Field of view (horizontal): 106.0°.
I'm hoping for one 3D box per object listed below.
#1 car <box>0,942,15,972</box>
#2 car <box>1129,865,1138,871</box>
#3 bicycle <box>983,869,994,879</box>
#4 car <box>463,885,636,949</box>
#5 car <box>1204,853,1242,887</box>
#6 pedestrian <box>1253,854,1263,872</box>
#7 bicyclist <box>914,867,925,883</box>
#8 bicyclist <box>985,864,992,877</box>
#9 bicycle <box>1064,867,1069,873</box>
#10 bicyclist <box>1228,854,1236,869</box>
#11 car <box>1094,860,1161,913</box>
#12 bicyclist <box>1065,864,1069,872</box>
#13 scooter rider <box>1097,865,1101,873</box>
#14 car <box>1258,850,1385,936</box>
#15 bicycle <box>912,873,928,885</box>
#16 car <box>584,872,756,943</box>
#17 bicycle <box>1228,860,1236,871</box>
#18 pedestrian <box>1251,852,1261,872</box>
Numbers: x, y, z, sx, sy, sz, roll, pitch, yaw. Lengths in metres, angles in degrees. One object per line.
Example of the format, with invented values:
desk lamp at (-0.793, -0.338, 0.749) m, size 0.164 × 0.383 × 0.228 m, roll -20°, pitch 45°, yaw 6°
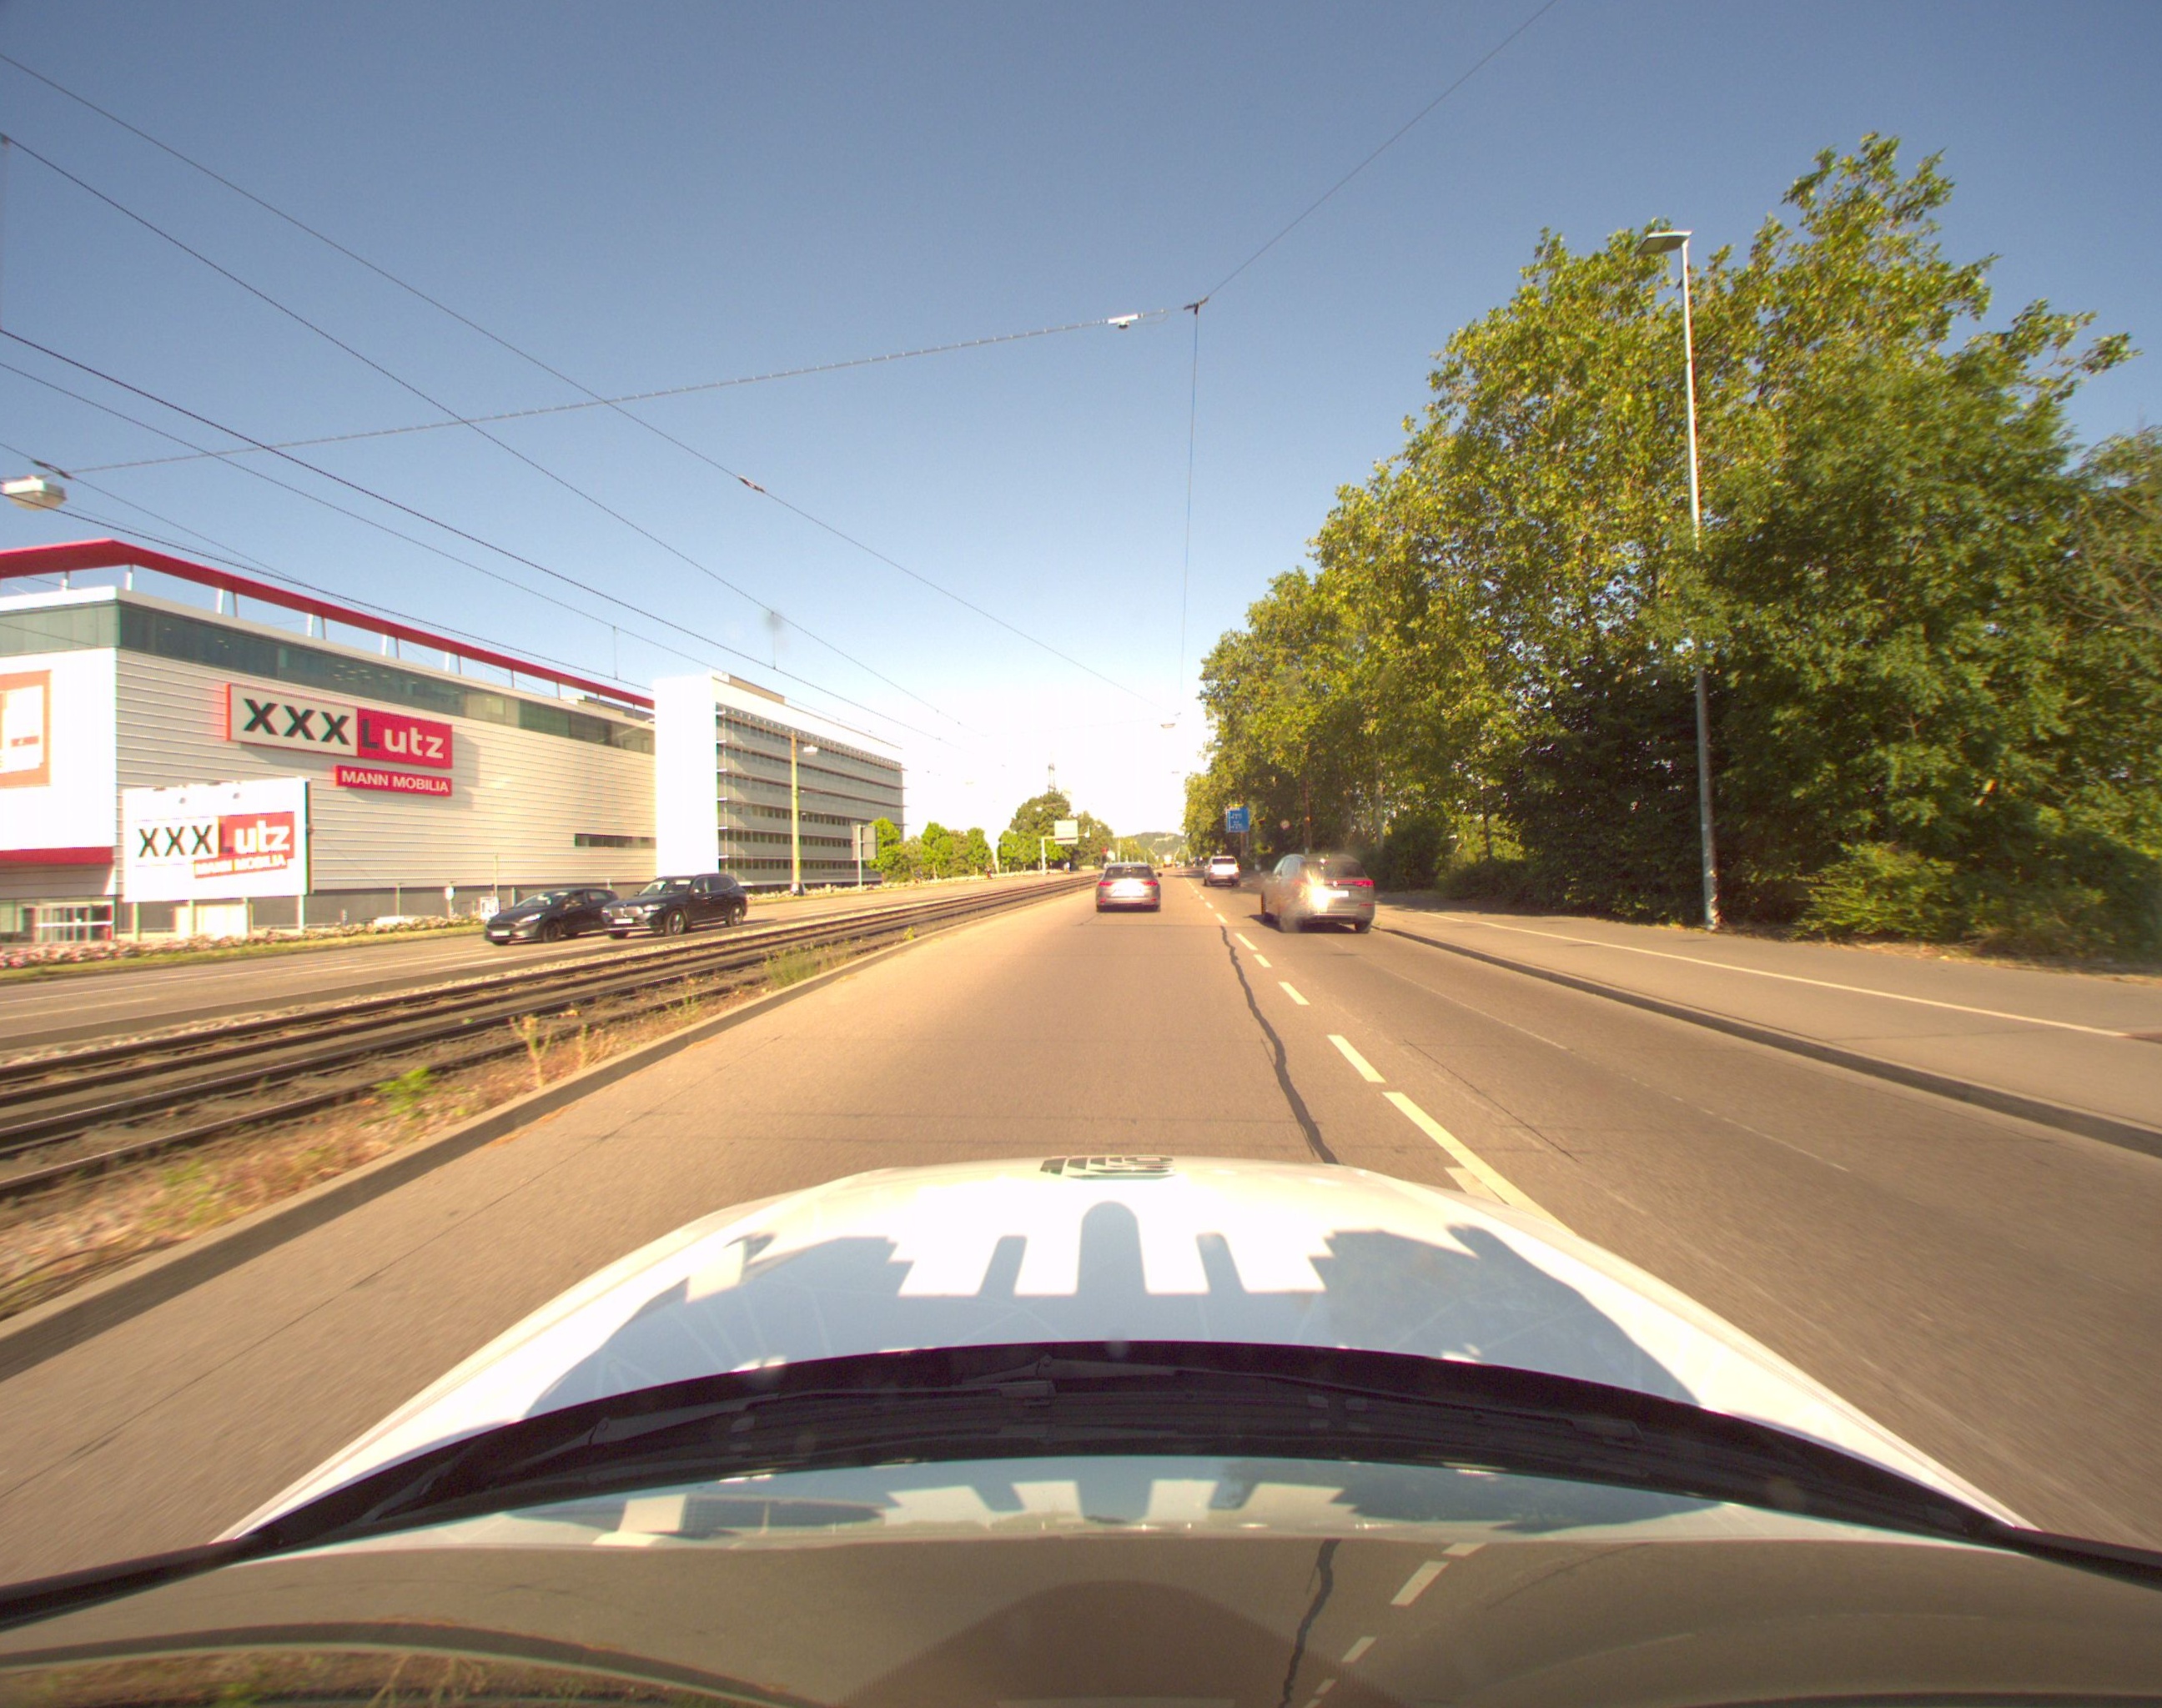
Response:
car at (-64.917, 6.114, 46.552) m, size 1.911 × 1.702 × 4.457 m, roll 0°, pitch 0°, yaw 7°
car at (14.111, 3.858, 219.611) m, size 2.028 × 1.503 × 4.898 m, roll -2°, pitch 0°, yaw 8°
bicycle at (-11.592, 2.502, 101.943) m, size 0.656 × 1.151 × 2.031 m, roll 0°, pitch 0°, yaw 17°
car at (-14.853, 1.709, 23.083) m, size 1.847 × 1.461 × 4.144 m, roll -2°, pitch 0°, yaw 6°
car at (7.914, 0.845, 45.662) m, size 1.873 × 1.796 × 4.007 m, roll 0°, pitch 0°, yaw 6°
pedestrian at (15.264, 0.799, 70.110) m, size 0.719 × 1.480 × 0.723 m, roll -3°, pitch -1°, yaw 6°
bicyclist at (-15.681, 2.024, 78.912) m, size 0.700 × 1.512 × 0.974 m, roll 0°, pitch 0°, yaw 14°
bicyclist at (-11.564, 2.081, 102.030) m, size 0.656 × 1.623 × 0.804 m, roll 0°, pitch -1°, yaw 16°
bicycle at (-2.607, 2.925, 148.181) m, size 0.621 × 1.059 × 1.707 m, roll 0°, pitch 0°, yaw 7°
bicyclist at (15.597, 0.763, 84.119) m, size 0.682 × 1.509 × 0.892 m, roll -1°, pitch -1°, yaw 7°
car at (1.492, 0.906, 24.705) m, size 1.857 × 1.467 × 4.672 m, roll 0°, pitch 0°, yaw 5°
bicyclist at (-2.608, 2.539, 148.198) m, size 0.621 × 1.374 × 0.882 m, roll 0°, pitch 0°, yaw 7°
scooter rider at (4.468, 3.786, 201.947) m, size 0.677 × 1.848 × 1.004 m, roll -3°, pitch -1°, yaw 15°
car at (5.131, 0.767, 18.009) m, size 1.836 × 1.661 × 4.445 m, roll -1°, pitch 0°, yaw 5°
bicycle at (-15.633, 2.417, 79.081) m, size 0.700 × 1.073 × 2.035 m, roll 0°, pitch 0°, yaw 14°
car at (-11.400, 1.415, 23.045) m, size 1.982 × 1.655 × 4.669 m, roll -3°, pitch -1°, yaw 8°
bicycle at (15.603, 1.197, 84.217) m, size 0.619 × 1.120 × 1.816 m, roll -3°, pitch -1°, yaw 7°
pedestrian at (15.354, 0.708, 71.301) m, size 0.718 × 1.708 × 0.814 m, roll -3°, pitch -1°, yaw 6°
